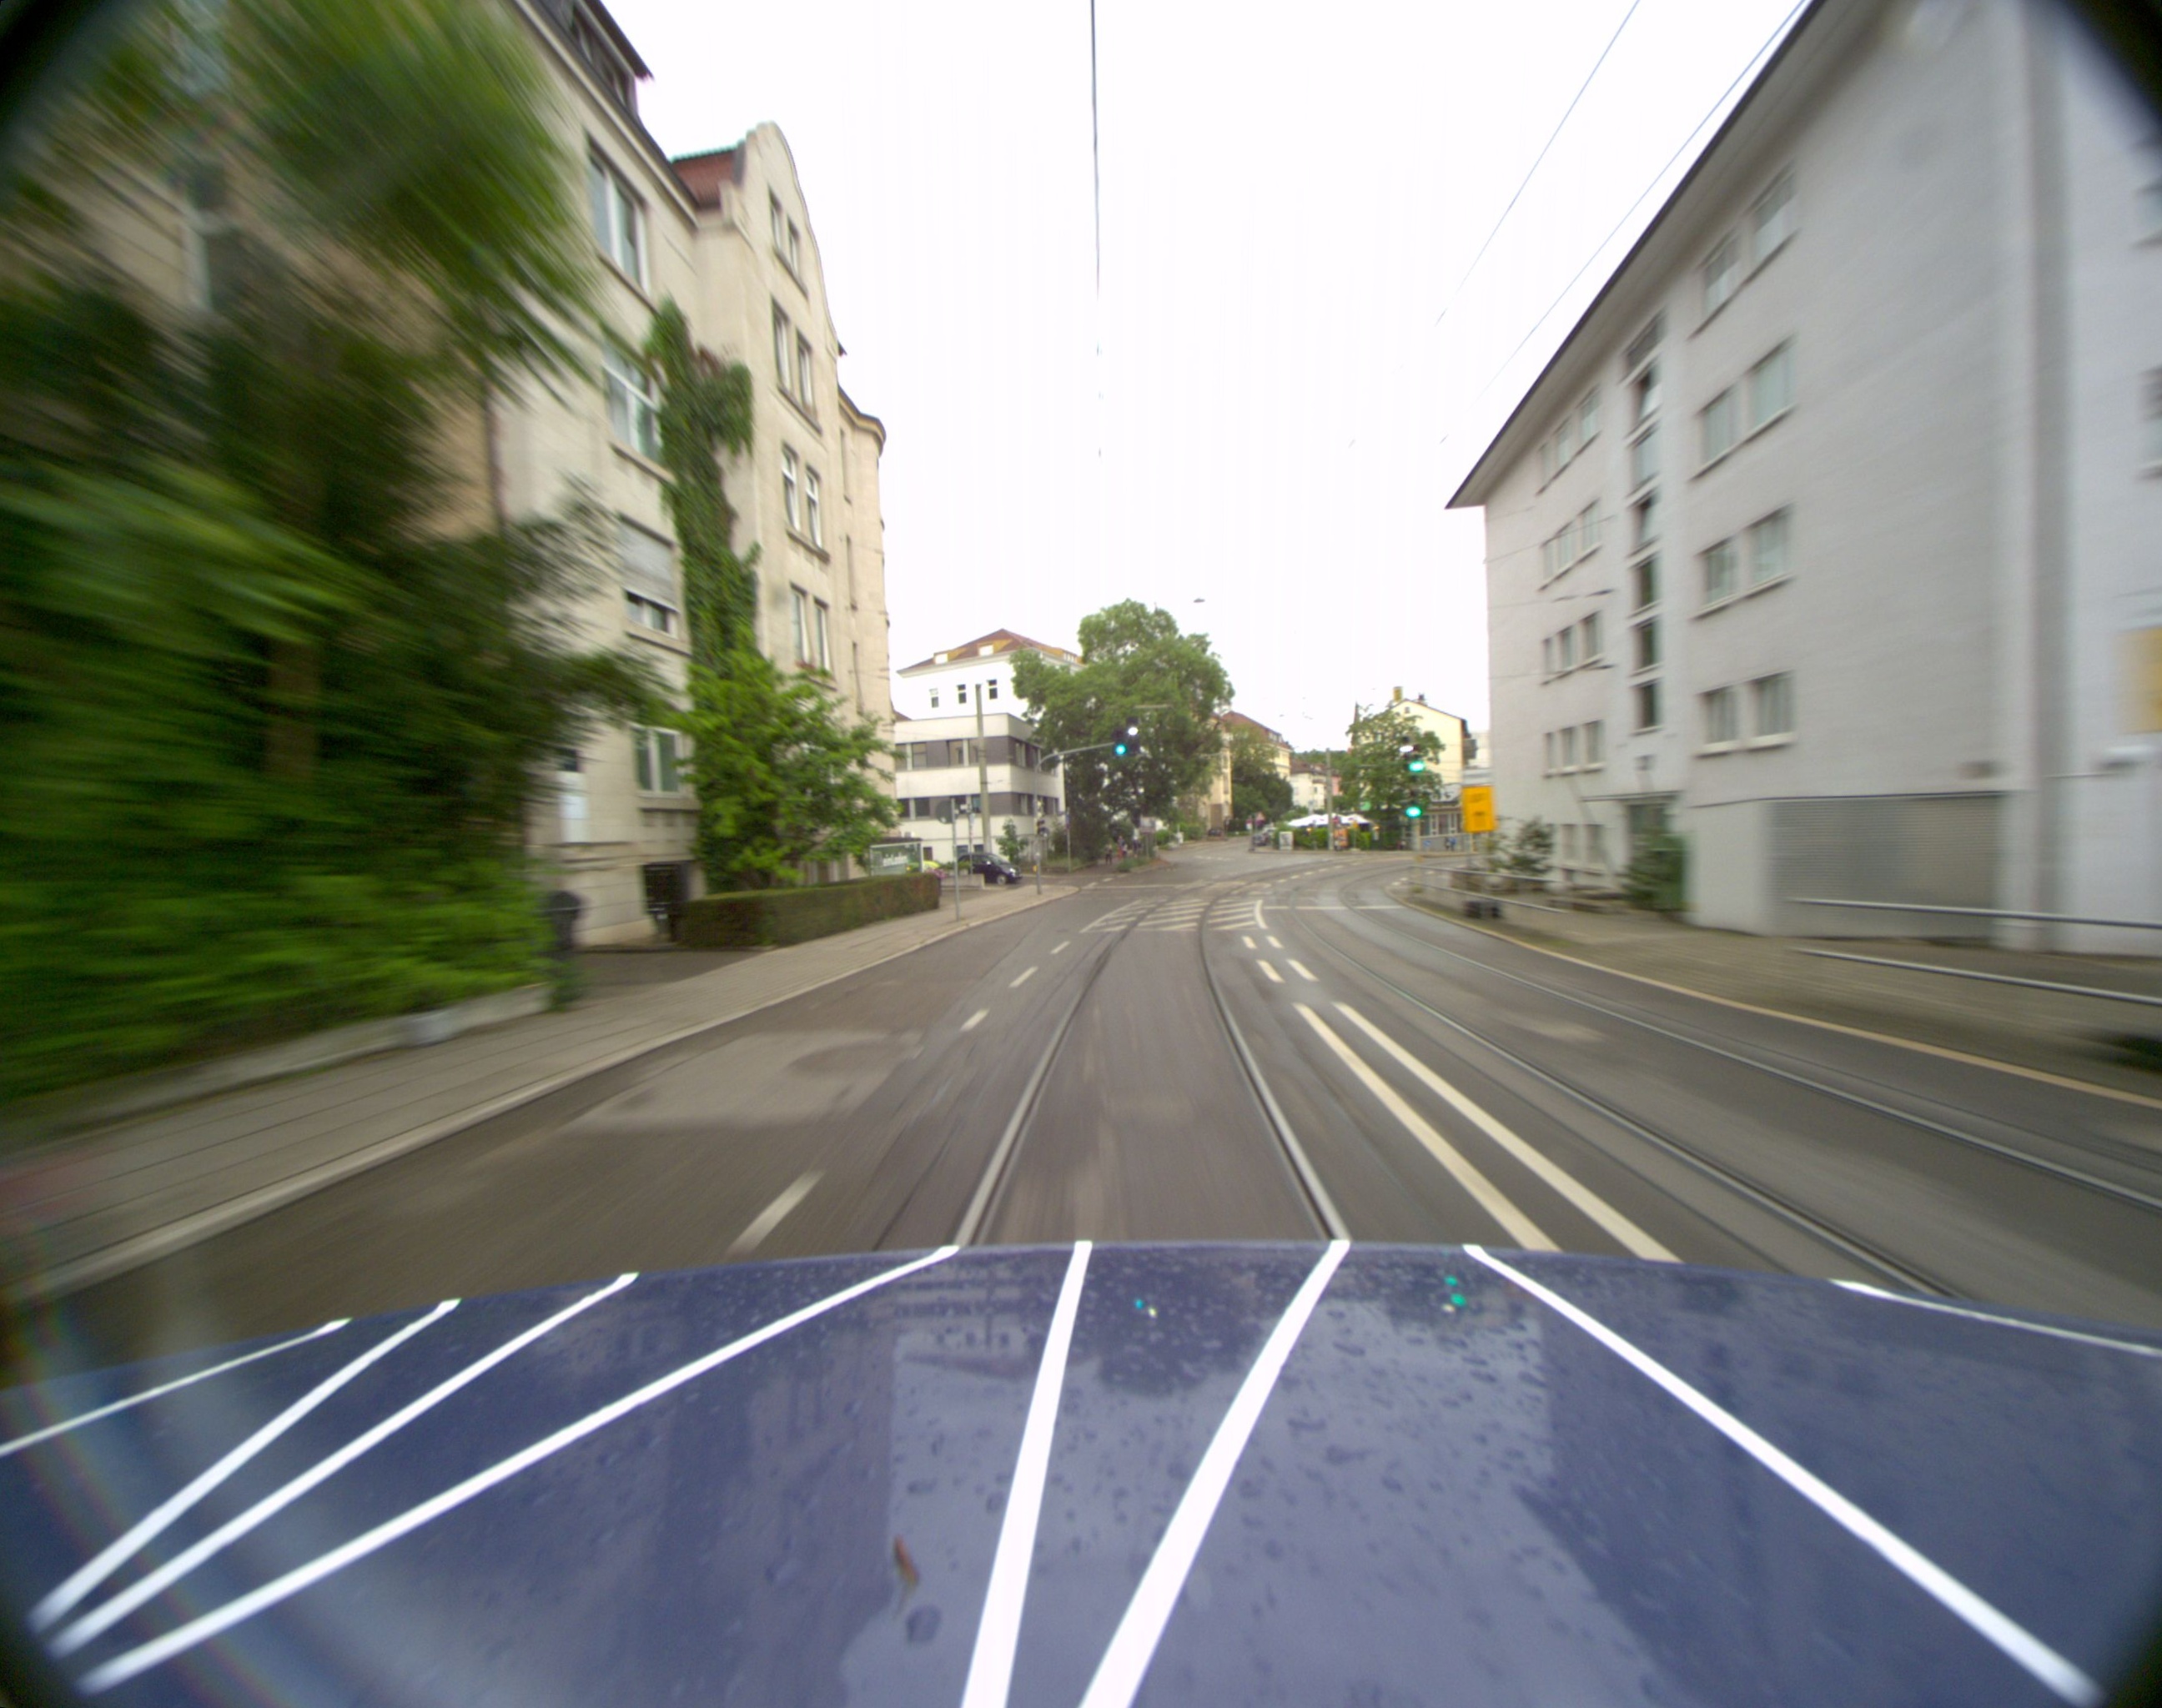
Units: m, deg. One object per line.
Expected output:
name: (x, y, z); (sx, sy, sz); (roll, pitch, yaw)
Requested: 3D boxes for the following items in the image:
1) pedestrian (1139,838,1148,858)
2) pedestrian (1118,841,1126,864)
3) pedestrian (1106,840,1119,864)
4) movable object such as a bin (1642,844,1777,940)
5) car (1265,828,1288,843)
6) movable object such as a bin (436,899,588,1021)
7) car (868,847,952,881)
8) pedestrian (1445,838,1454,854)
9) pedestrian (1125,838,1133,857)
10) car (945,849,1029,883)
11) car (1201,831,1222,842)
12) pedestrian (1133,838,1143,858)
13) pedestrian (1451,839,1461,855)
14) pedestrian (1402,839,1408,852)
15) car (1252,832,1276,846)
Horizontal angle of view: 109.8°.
pedestrian: (5.141, -0.490, 62.594); (0.544, 1.620, 0.603); (-1, -1, 22)
pedestrian: (3.419, -0.132, 62.628); (0.542, 1.913, 0.917); (-1, 3, 9)
pedestrian: (2.348, -0.152, 55.867); (0.744, 1.690, 0.674); (3, 0, 17)
movable object such as a bin: (10.001, 0.584, 12.176); (1.187, 1.453, 1.291); (0, -1, 10)
car: (22.307, -2.081, 86.553); (1.689, 1.680, 3.810); (1, 2, 27)
movable object such as a bin: (-6.955, 1.264, 9.348); (1.228, 1.394, 0.823); (0, -1, -3)
car: (-8.493, 0.481, 37.811); (3.663, 1.500, 1.739); (1, 2, 13)
pedestrian: (35.992, -0.748, 74.276); (0.560, 1.545, 0.545); (0, 3, -37)
pedestrian: (3.776, -0.487, 59.956); (0.386, 1.498, 0.537); (-3, 3, -42)
car: (-4.542, 0.544, 36.877); (3.663, 1.500, 1.739); (1, 2, 13)
car: (16.909, -2.228, 98.285); (1.596, 1.333, 3.642); (-1, -1, 30)
pedestrian: (4.544, -0.452, 60.286); (0.547, 1.556, 0.600); (0, -1, -45)
pedestrian: (36.292, -0.650, 73.581); (0.651, 1.545, 0.588); (0, 3, -36)
pedestrian: (29.815, -0.775, 70.013); (0.318, 1.144, 0.325); (0, 4, -39)
car: (19.372, -1.613, 80.288); (1.689, 1.434, 3.810); (1, 2, 27)
